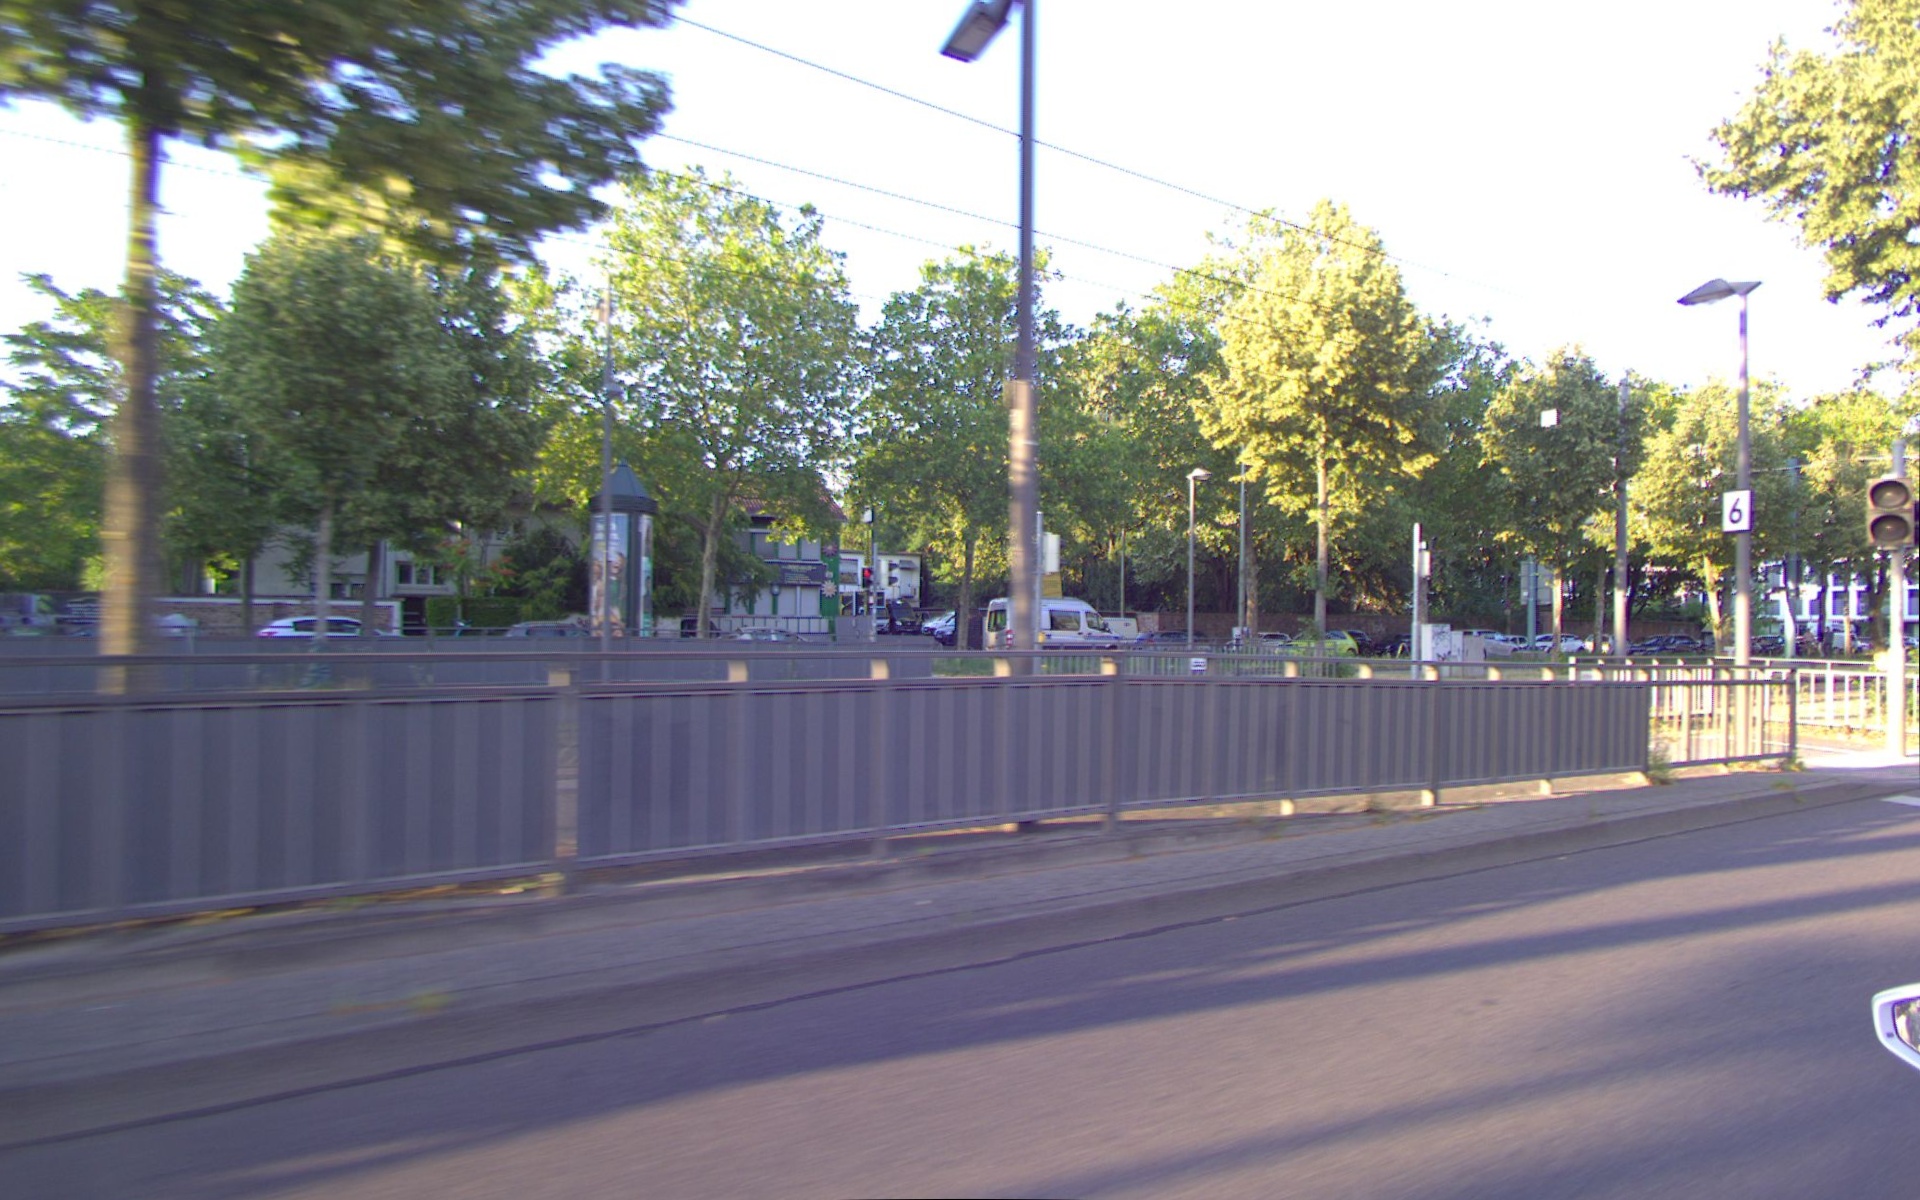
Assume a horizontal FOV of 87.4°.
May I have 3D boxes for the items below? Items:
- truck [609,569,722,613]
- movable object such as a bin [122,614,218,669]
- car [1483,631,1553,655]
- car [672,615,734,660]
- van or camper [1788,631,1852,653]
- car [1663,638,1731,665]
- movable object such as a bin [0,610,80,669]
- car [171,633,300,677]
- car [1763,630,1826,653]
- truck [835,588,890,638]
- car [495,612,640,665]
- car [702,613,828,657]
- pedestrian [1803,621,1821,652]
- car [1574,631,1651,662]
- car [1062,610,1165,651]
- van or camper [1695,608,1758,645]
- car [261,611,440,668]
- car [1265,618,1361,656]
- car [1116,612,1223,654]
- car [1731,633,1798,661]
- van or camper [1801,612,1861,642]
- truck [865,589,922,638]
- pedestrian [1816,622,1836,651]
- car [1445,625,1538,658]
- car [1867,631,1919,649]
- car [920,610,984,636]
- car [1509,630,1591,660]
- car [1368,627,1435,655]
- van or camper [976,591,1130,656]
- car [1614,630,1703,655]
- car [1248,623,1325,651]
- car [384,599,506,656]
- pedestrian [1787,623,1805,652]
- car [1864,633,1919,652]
[{"bbox_3d":[-12.299,-0.329,41.911,4.237,1.713,1.986,1,-1,-27],"label":"truck"},{"bbox_3d":[-20.764,1.072,26.466,1.703,1.390,1.546,1,-1,-28],"label":"movable object such as a bin"},{"bbox_3d":[36.273,2.796,65.315,3.943,1.506,1.989,1,-1,-23],"label":"car"},{"bbox_3d":[-12.148,1.731,47.325,1.975,2.040,3.972,1,-1,-27],"label":"car"},{"bbox_3d":[75.031,3.669,87.654,1.983,1.815,3.954,1,-1,-39],"label":"van or camper"},{"bbox_3d":[45.486,3.148,61.989,3.785,1.581,1.798,1,-1,-25],"label":"car"},{"bbox_3d":[-23.407,0.966,25.217,1.680,1.430,1.403,1,-1,-28],"label":"movable object such as a bin"},{"bbox_3d":[-25.033,1.887,34.843,3.363,1.449,1.639,1,-1,-28],"label":"car"},{"bbox_3d":[57.700,2.893,69.450,3.949,1.505,1.986,2,-1,-27],"label":"car"},{"bbox_3d":[-7.431,1.010,75.816,2.258,3.566,6.655,1,-1,-23],"label":"truck"},{"bbox_3d":[-12.182,1.187,31.202,4.004,1.552,1.802,1,-1,-29],"label":"car"},{"bbox_3d":[-7.037,1.268,36.295,4.048,1.520,1.985,2,-1,-29],"label":"car"},{"bbox_3d":[52.552,2.272,61.949,0.858,1.895,0.688,2,-1,-37],"label":"pedestrian"},{"bbox_3d":[38.510,2.732,59.262,4.104,1.773,1.988,1,-1,-25],"label":"car"},{"bbox_3d":[7.896,1.570,51.532,4.993,2.040,1.986,1,-1,-27],"label":"car"},{"bbox_3d":[58.521,2.040,76.654,5.434,2.771,2.074,2,-1,-32],"label":"van or camper"},{"bbox_3d":[-17.274,1.104,28.738,4.246,1.520,1.985,1,-1,-29],"label":"car"},{"bbox_3d":[15.829,1.644,44.987,3.952,1.661,1.985,1,-1,-30],"label":"car"},{"bbox_3d":[8.698,1.363,41.652,4.162,1.658,1.983,1,-1,-32],"label":"car"},{"bbox_3d":[53.540,3.093,66.811,4.736,1.773,1.984,2,-1,-31],"label":"car"},{"bbox_3d":[93.592,2.907,107.939,6.180,3.126,2.701,1,-1,-26],"label":"van or camper"},{"bbox_3d":[-5.145,1.066,76.924,2.258,3.566,6.655,1,-1,-23],"label":"truck"},{"bbox_3d":[52.610,2.204,61.025,0.857,1.766,0.689,1,-1,-32],"label":"pedestrian"},{"bbox_3d":[26.333,2.047,49.761,4.502,1.518,1.985,2,-1,-29],"label":"car"},{"bbox_3d":[88.873,3.762,95.172,1.901,1.661,3.964,1,-1,-33],"label":"car"},{"bbox_3d":[-0.536,1.580,69.507,3.953,1.773,1.984,1,-1,-30],"label":"car"},{"bbox_3d":[31.011,2.353,52.771,4.255,1.519,1.891,2,-1,-29],"label":"car"},{"bbox_3d":[26.674,2.487,60.706,3.788,1.617,1.759,1,-1,-27],"label":"car"},{"bbox_3d":[3.665,0.940,39.486,5.705,2.396,2.277,1,-1,-26],"label":"van or camper"},{"bbox_3d":[39.543,2.391,56.835,5.075,1.332,1.987,2,-1,-26],"label":"car"},{"bbox_3d":[18.360,2.077,56.504,3.997,1.511,1.854,1,-1,-27],"label":"car"},{"bbox_3d":[-19.315,1.022,37.845,3.947,2.040,1.987,1,-1,-26],"label":"car"},{"bbox_3d":[51.960,2.320,62.408,0.858,1.782,0.688,2,-1,-37],"label":"pedestrian"},{"bbox_3d":[87.089,3.911,93.549,1.901,1.661,3.964,1,-1,-33],"label":"car"}]
